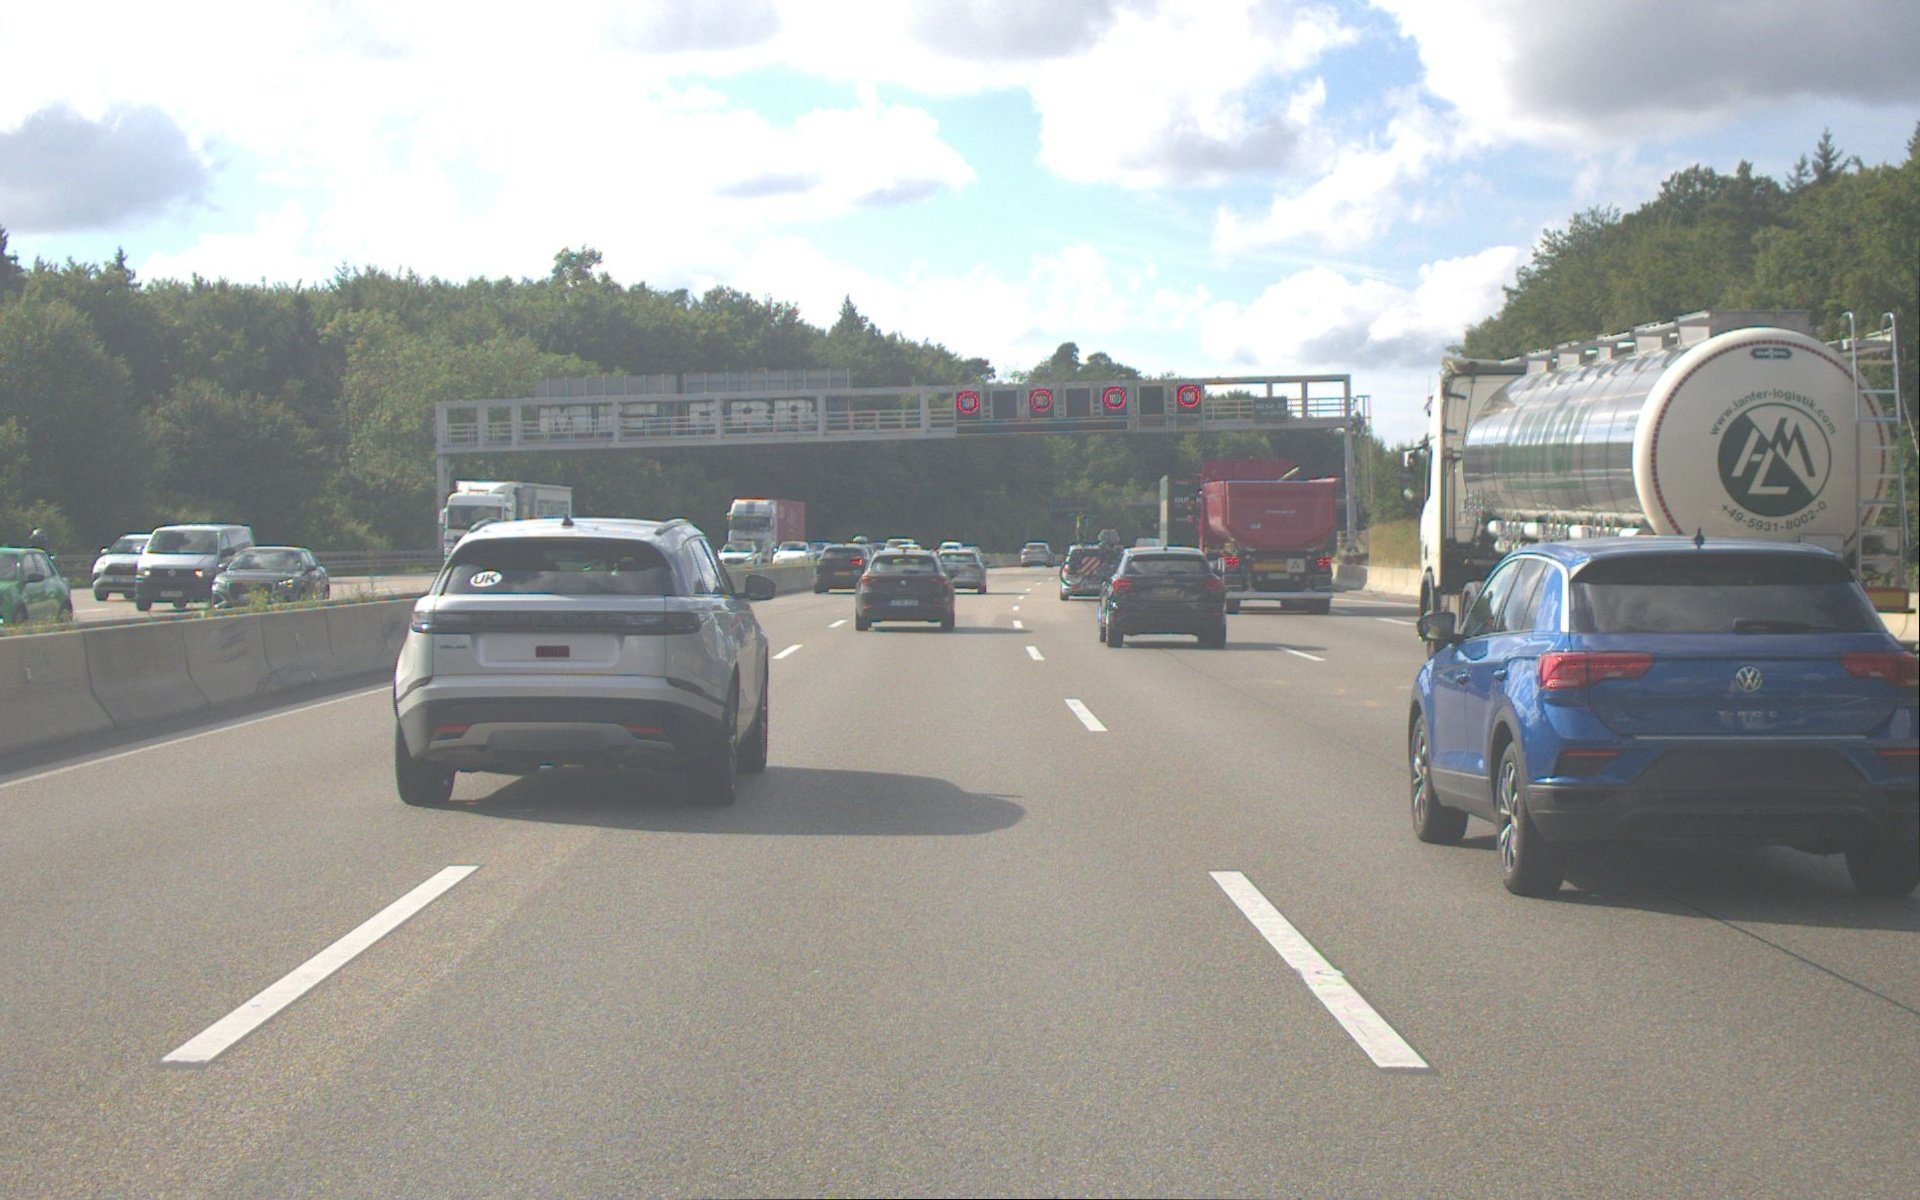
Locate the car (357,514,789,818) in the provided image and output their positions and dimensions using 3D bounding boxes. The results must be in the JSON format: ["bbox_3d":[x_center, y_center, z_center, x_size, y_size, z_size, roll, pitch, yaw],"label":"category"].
[{"bbox_3d":[-2.219,0.305,21.173,2.006,1.611,5.301,1,1,1],"label":"car"}]

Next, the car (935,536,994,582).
[{"bbox_3d":[0.153,-1.312,110.610,1.822,1.452,4.000,1,1,1],"label":"car"}]

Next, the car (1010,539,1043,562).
[{"bbox_3d":[4.529,-3.344,232.851,2.077,1.452,4.000,-1,1,3],"label":"car"}]

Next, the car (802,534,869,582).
[{"bbox_3d":[-3.953,-1.361,109.749,1.942,1.452,4.000,-1,1,1],"label":"car"}]

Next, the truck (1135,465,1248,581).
[{"bbox_3d":[8.113,-2.715,121.833,3.118,3.921,10.412,0,1,-1],"label":"truck"}]

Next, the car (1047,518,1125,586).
[{"bbox_3d":[3.528,-1.374,96.838,1.893,1.850,4.101,1,1,-2],"label":"car"}]

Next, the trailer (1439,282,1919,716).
[{"bbox_3d":[7.156,-0.993,35.855,2.649,3.754,11.860,0,1,0],"label":"trailer"}]

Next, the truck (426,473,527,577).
[{"bbox_3d":[-19.626,-3.041,139.836,3.317,4.092,6.226,0,1,-1],"label":"truck"}]

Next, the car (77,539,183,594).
[{"bbox_3d":[-21.668,-0.883,89.886,1.823,1.389,4.279,0,1,-1],"label":"car"}]

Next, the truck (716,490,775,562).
[{"bbox_3d":[-12.425,-4.298,199.562,2.739,4.092,5.764,0,1,3],"label":"truck"}]

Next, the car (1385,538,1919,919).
[{"bbox_3d":[3.163,0.475,16.026,1.773,1.525,4.458,0,1,0],"label":"car"}]

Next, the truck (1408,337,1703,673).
[{"bbox_3d":[7.191,-1.138,42.260,2.649,3.810,6.082,0,1,1],"label":"truck"}]

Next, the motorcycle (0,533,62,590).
[{"bbox_3d":[-17.251,-0.718,63.725,0.610,1.036,2.175,0,1,1],"label":"motorcycle"}]

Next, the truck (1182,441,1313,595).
[{"bbox_3d":[7.119,-2.054,85.906,2.710,3.706,5.818,1,1,0],"label":"truck"}]

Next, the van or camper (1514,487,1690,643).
[{"bbox_3d":[9.827,-0.560,52.975,1.822,2.299,4.939,0,1,0],"label":"van or camper"}]

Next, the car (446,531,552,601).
[{"bbox_3d":[-10.539,-0.807,78.839,1.863,1.546,4.662,0,1,-1],"label":"car"}]

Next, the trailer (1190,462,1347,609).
[{"bbox_3d":[7.172,-1.557,81.155,2.710,3.220,9.733,1,1,0],"label":"trailer"}]

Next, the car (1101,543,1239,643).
[{"bbox_3d":[3.166,-0.140,52.527,1.822,1.452,4.000,0,1,0],"label":"car"}]

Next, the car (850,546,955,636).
[{"bbox_3d":[-1.016,-0.192,61.724,1.822,1.541,4.000,0,1,-1],"label":"car"}]

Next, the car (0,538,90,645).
[{"bbox_3d":[-14.085,-0.138,49.899,1.783,1.465,4.331,-1,1,0],"label":"car"}]

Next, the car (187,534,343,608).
[{"bbox_3d":[-14.301,-0.628,70.977,2.171,1.465,4.786,0,1,1],"label":"car"}]

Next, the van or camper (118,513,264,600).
[{"bbox_3d":[-17.691,-1.029,79.351,1.993,1.931,5.458,0,1,2],"label":"van or camper"}]

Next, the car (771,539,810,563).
[{"bbox_3d":[-9.267,-2.677,187.886,1.811,1.298,4.046,0,1,2],"label":"car"}]

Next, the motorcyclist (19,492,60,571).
[{"bbox_3d":[-17.234,-1.275,64.378,0.602,1.471,0.532,1,0,1],"label":"motorcyclist"}]
